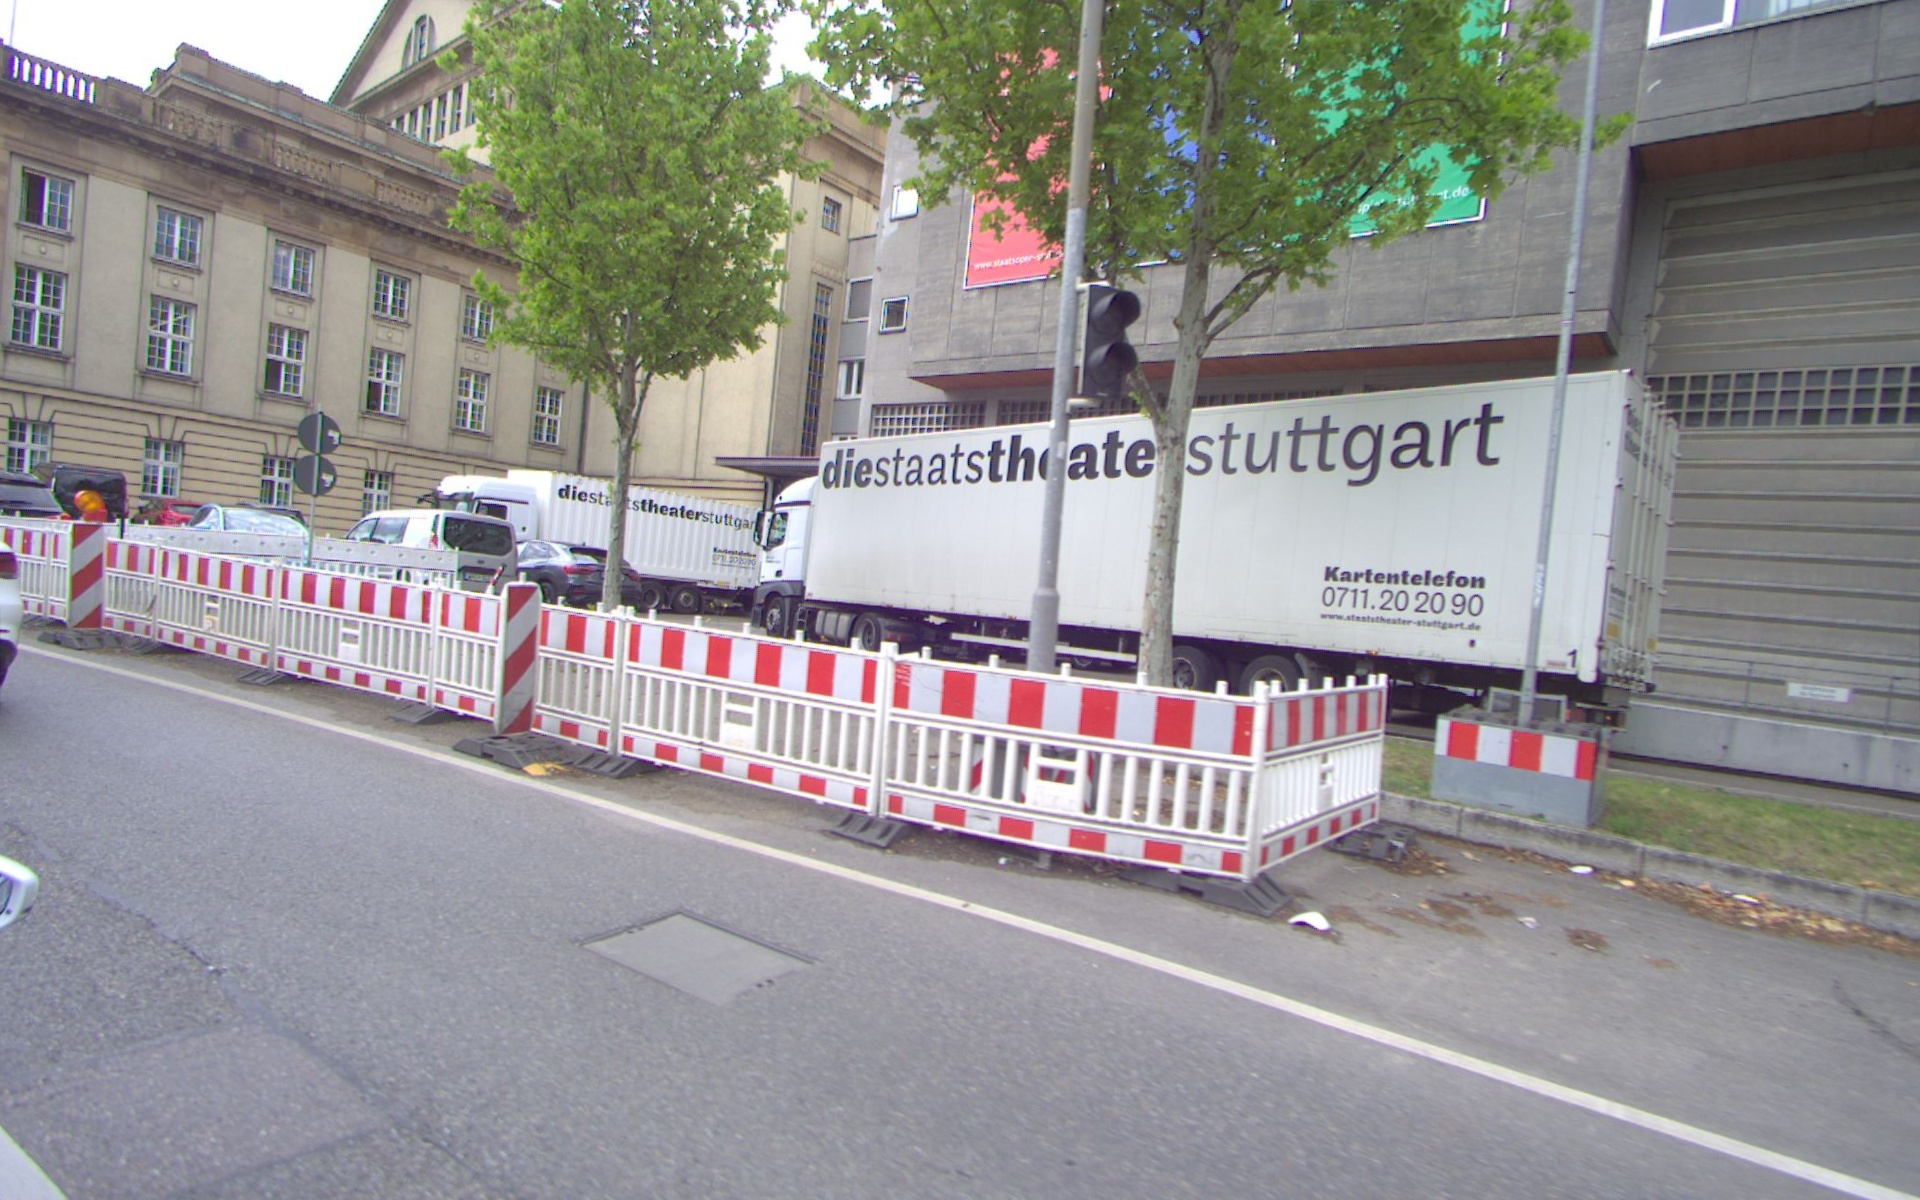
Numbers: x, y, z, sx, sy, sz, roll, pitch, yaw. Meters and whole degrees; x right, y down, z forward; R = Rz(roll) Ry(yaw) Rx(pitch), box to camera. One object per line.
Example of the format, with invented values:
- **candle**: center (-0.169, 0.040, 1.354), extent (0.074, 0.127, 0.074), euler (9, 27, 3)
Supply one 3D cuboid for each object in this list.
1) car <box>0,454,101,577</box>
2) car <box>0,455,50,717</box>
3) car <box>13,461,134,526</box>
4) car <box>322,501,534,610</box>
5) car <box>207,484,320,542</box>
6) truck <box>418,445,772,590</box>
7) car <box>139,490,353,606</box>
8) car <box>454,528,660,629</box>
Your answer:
- **car**: center (-14.604, -1.348, 15.087), extent (4.267, 1.588, 1.749), euler (6, 1, 38)
- **car**: center (-8.343, -0.322, 6.808), extent (4.473, 1.665, 1.813), euler (7, 3, 28)
- **car**: center (-26.132, -3.143, 29.608), extent (4.267, 1.588, 1.854), euler (6, 1, 38)
- **car**: center (-9.763, -0.844, 18.340), extent (4.267, 1.588, 1.749), euler (6, 1, 38)
- **car**: center (-23.401, -2.932, 33.756), extent (4.267, 1.588, 1.854), euler (6, 1, 38)
- **truck**: center (-10.373, -2.211, 30.129), extent (2.531, 3.090, 10.017), euler (6, 1, 38)
- **car**: center (-12.168, -0.917, 17.048), extent (4.267, 1.588, 1.749), euler (6, 1, 38)
- **car**: center (-8.115, -0.454, 20.091), extent (4.267, 1.588, 1.854), euler (6, 1, 38)
